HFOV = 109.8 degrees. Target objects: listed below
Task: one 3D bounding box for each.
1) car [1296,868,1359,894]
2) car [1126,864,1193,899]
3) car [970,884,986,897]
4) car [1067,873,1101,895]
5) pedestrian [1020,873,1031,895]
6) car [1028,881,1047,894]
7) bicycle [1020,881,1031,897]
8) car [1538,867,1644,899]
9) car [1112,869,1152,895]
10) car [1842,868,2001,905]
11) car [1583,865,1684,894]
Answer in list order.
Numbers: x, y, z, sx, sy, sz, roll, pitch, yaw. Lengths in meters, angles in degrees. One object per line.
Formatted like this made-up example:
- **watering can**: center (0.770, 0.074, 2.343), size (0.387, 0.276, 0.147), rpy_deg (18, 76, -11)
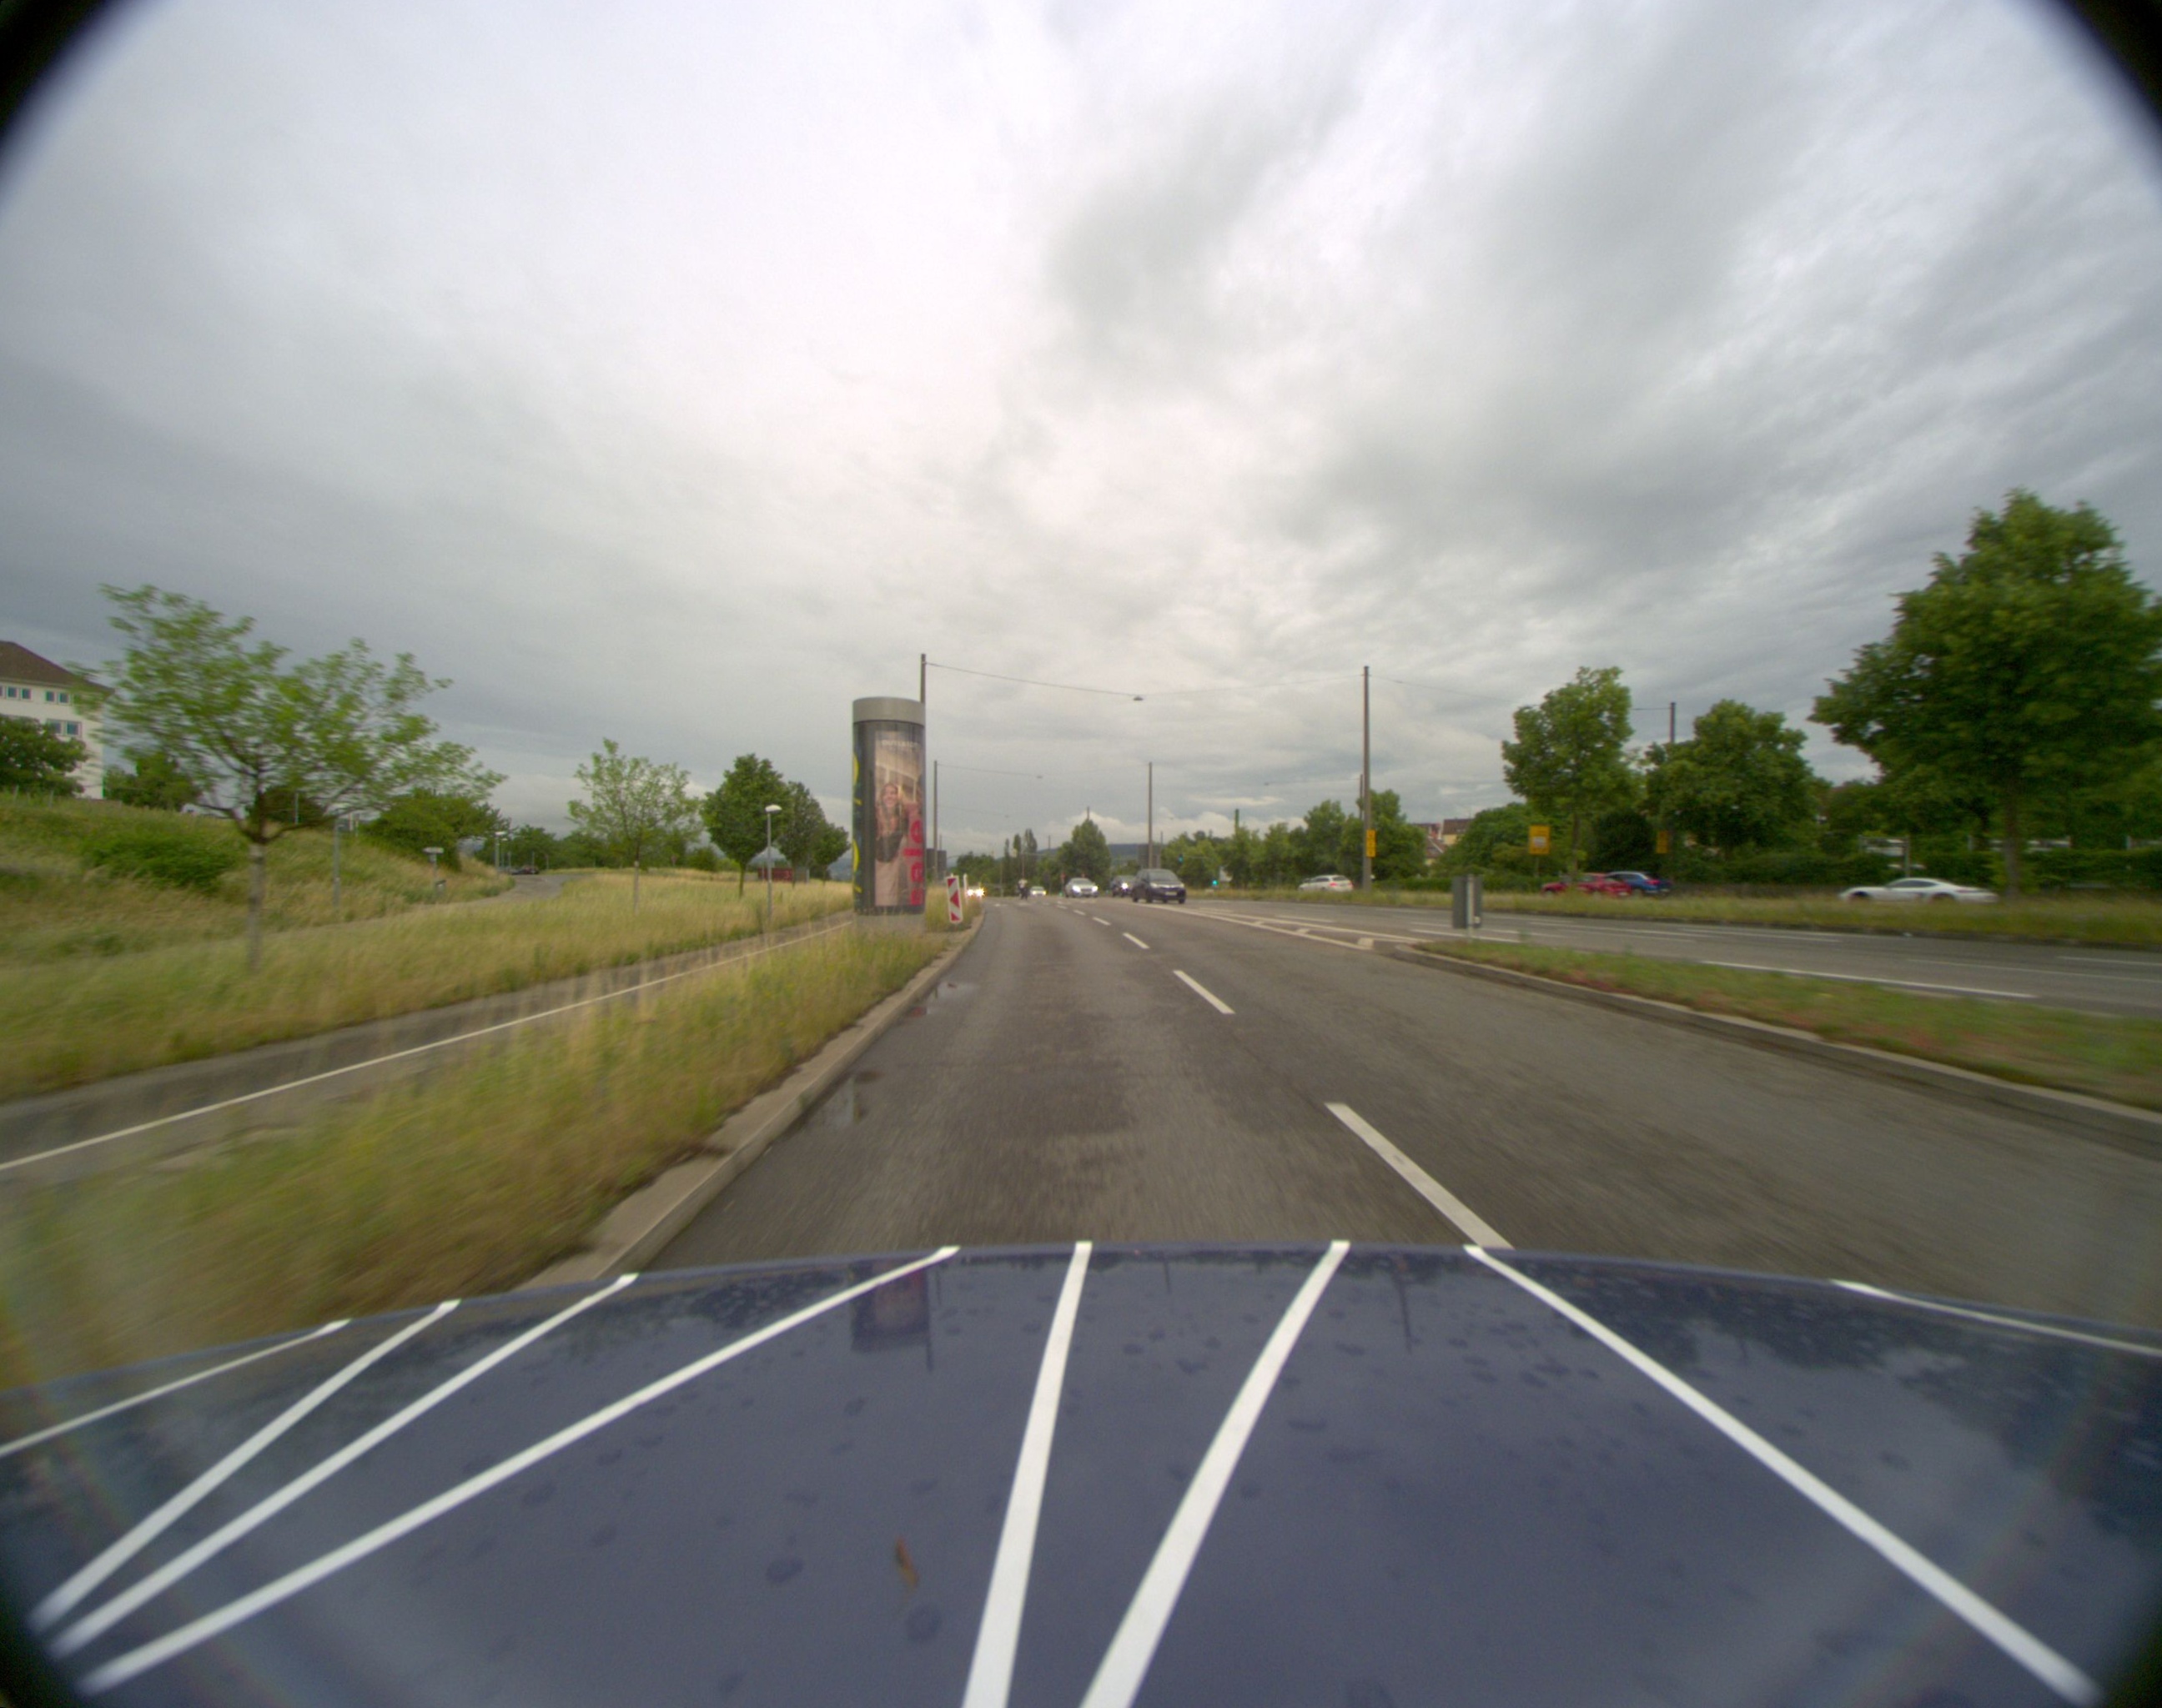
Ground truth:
- **car**: center (17.725, 1.915, 54.933), size (2.001, 1.760, 4.866), rpy_deg (-1, -1, -14)
- **car**: center (3.578, 1.240, 35.230), size (1.803, 1.556, 4.038), rpy_deg (0, -1, -14)
- **car**: center (-11.964, 4.268, 88.579), size (1.726, 1.512, 4.228), rpy_deg (0, -3, -5)
- **car**: center (0.203, 2.245, 55.729), size (1.999, 1.399, 4.525), rpy_deg (-2, -3, -6)
- **pedestrian**: center (-4.036, 2.201, 55.040), size (0.635, 1.560, 0.895), rpy_deg (-1, -4, -10)
- **car**: center (-5.969, 4.697, 104.677), size (2.000, 1.632, 4.627), rpy_deg (-2, -3, -10)
- **bicycle**: center (-4.023, 2.532, 55.000), size (0.635, 1.098, 1.753), rpy_deg (-1, -3, -10)
- **car**: center (25.328, 1.415, 37.896), size (1.917, 1.522, 3.994), rpy_deg (0, -1, -20)
- **car**: center (3.840, 2.152, 57.648), size (2.000, 1.849, 3.998), rpy_deg (-1, -2, -11)
- **car**: center (34.048, 1.283, 30.932), size (1.667, 1.383, 3.976), rpy_deg (0, -1, -17)
- **car**: center (29.009, 1.310, 40.027), size (1.884, 1.433, 3.976), rpy_deg (0, -1, -16)
